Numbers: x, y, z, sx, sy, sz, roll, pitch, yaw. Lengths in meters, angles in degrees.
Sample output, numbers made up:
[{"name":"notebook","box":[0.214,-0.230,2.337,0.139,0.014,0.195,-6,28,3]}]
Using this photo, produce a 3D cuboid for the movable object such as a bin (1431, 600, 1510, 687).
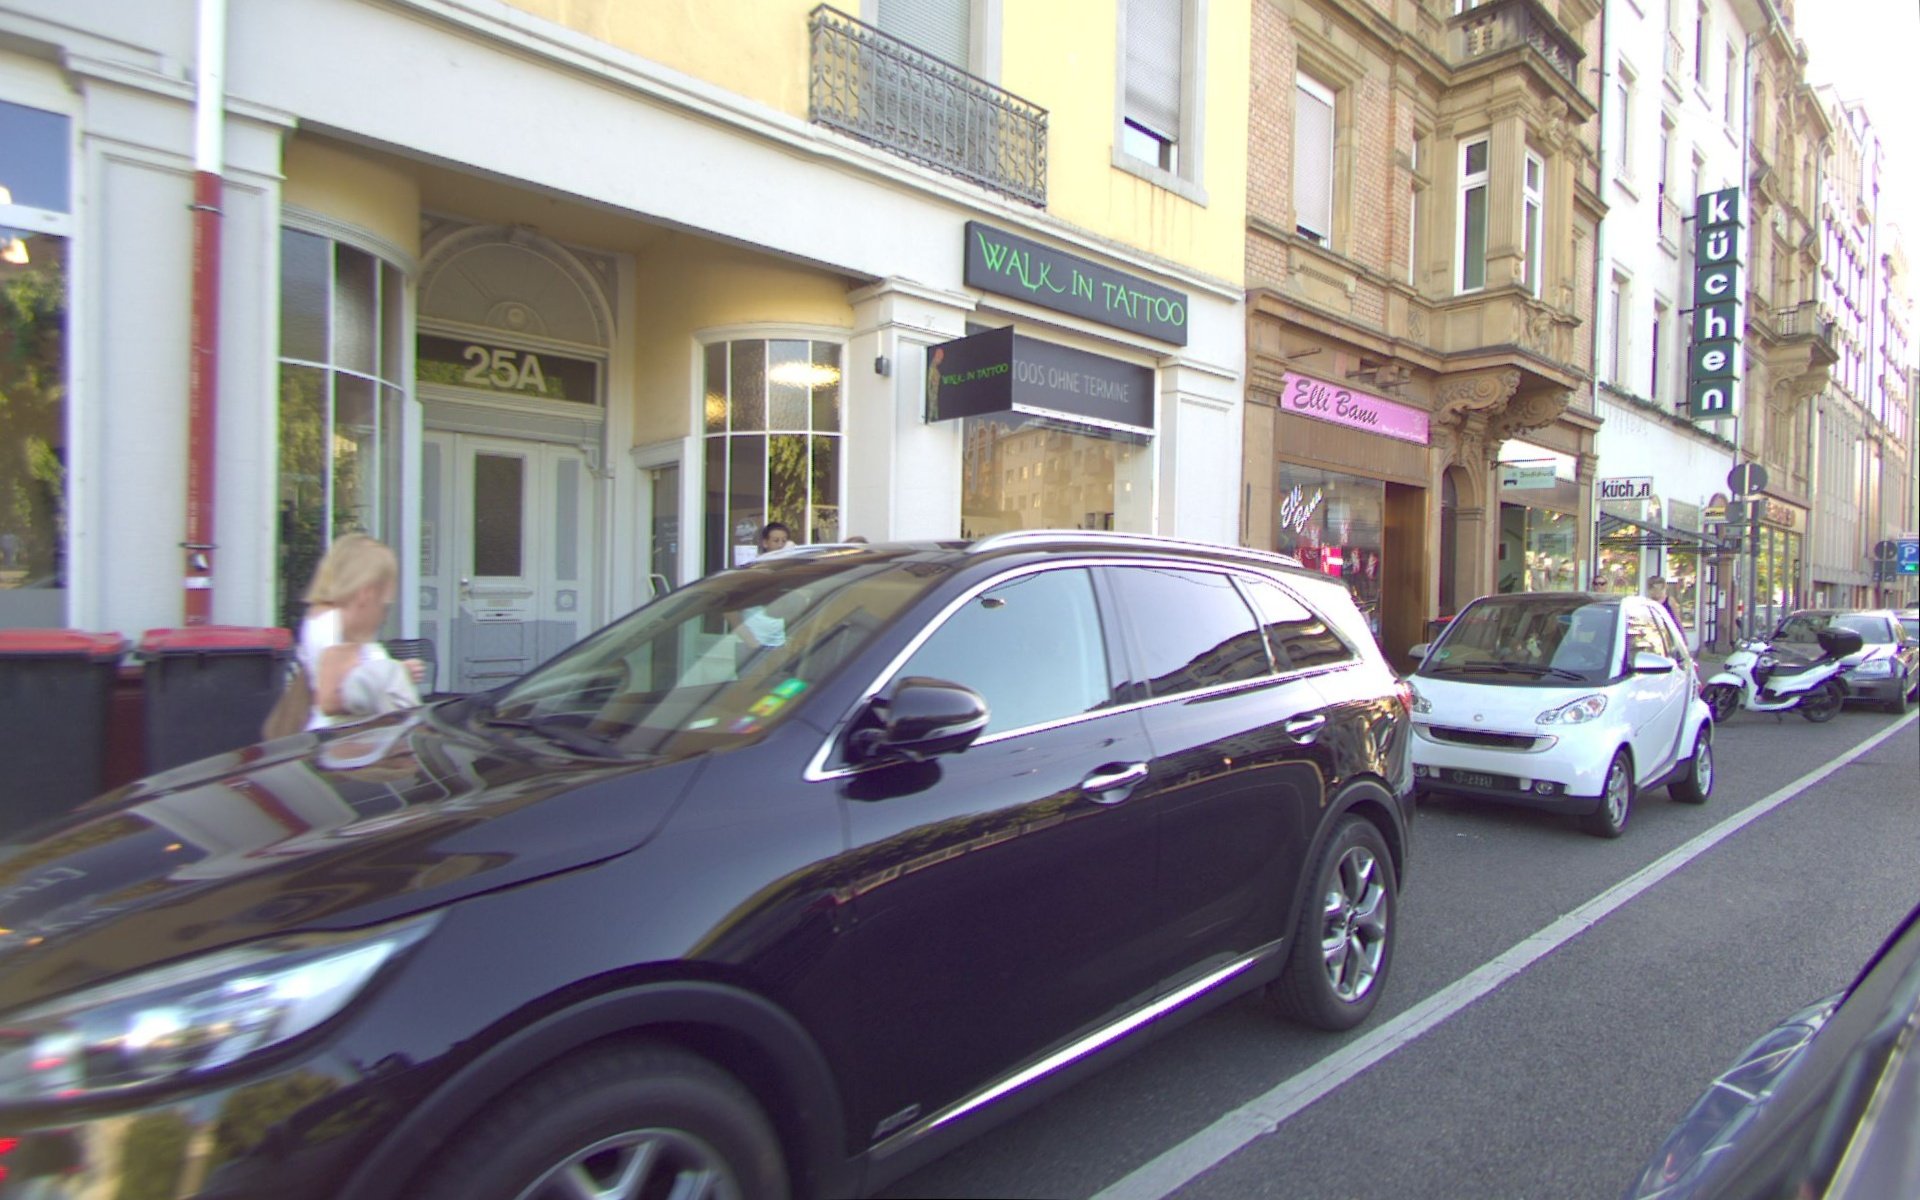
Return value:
[{"name":"movable object such as a bin","box":[6.854,0.571,13.604,0.608,1.084,0.716,1,3,-40]}]

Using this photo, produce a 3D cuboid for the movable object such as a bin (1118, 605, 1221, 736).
[{"name":"movable object such as a bin","box":[1.878,0.608,9.084,0.608,1.079,0.606,1,3,-40]}]

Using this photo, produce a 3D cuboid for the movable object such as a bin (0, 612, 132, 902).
[{"name":"movable object such as a bin","box":[-3.789,0.601,4.126,0.608,1.054,0.662,1,3,-38]}]

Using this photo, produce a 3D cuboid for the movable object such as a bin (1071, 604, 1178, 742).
[{"name":"movable object such as a bin","box":[1.405,0.599,8.680,0.608,1.079,0.606,1,3,-40]}]

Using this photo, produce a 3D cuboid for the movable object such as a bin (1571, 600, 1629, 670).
[{"name":"movable object such as a bin","box":[10.665,0.572,16.877,0.608,1.086,0.606,1,3,-40]}]

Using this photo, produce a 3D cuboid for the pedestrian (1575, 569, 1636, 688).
[{"name":"pedestrian","box":[9.297,0.393,14.587,0.616,1.653,0.456,4,2,40]}]

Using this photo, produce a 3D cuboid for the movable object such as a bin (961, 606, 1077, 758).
[{"name":"movable object such as a bin","box":[0.454,0.605,7.884,0.608,1.079,0.606,1,3,-40]}]

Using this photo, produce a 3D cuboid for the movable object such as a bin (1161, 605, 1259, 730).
[{"name":"movable object such as a bin","box":[2.340,0.608,9.490,0.608,1.079,0.606,1,3,-40]}]

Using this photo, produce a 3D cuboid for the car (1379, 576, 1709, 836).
[{"name":"car","box":[4.337,0.620,7.394,2.746,1.537,1.274,0,0,-41]}]

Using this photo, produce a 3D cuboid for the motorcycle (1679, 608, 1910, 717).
[{"name":"motorcycle","box":[10.708,0.774,13.061,2.137,1.295,0.866,1,0,8]}]

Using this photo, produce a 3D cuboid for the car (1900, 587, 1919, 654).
[{"name":"car","box":[26.393,0.530,26.716,3.979,1.711,1.894,0,1,-41]}]

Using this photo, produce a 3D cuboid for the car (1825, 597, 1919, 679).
[{"name":"car","box":[18.237,0.676,19.590,3.735,1.435,1.736,0,1,-41]}]

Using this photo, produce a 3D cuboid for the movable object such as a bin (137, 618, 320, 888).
[{"name":"movable object such as a bin","box":[-3.264,0.626,4.521,0.608,1.037,0.669,1,3,-38]}]

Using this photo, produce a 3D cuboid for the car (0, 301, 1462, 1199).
[{"name":"car","box":[-0.176,0.546,3.156,4.497,1.758,1.756,0,1,-45]}]

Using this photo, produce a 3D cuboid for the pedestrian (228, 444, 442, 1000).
[{"name":"pedestrian","box":[-2.175,0.388,3.550,0.429,1.785,0.478,0,0,20]}]

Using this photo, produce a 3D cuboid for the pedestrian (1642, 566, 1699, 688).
[{"name":"pedestrian","box":[9.833,0.367,14.022,0.507,1.653,0.413,1,0,11]}]

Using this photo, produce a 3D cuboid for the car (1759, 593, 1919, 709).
[{"name":"car","box":[13.813,0.683,15.628,4.095,1.537,1.735,0,1,-43]}]

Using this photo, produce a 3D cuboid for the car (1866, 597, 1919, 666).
[{"name":"car","box":[21.516,0.670,22.392,3.735,1.435,1.736,0,1,-41]}]

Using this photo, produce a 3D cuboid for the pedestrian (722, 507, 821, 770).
[{"name":"pedestrian","box":[-1.262,0.239,6.774,0.337,1.681,0.516,3,2,43]}]

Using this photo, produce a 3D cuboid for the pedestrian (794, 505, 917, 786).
[{"name":"pedestrian","box":[-0.662,0.264,6.398,0.582,1.681,0.451,1,2,-39]}]
